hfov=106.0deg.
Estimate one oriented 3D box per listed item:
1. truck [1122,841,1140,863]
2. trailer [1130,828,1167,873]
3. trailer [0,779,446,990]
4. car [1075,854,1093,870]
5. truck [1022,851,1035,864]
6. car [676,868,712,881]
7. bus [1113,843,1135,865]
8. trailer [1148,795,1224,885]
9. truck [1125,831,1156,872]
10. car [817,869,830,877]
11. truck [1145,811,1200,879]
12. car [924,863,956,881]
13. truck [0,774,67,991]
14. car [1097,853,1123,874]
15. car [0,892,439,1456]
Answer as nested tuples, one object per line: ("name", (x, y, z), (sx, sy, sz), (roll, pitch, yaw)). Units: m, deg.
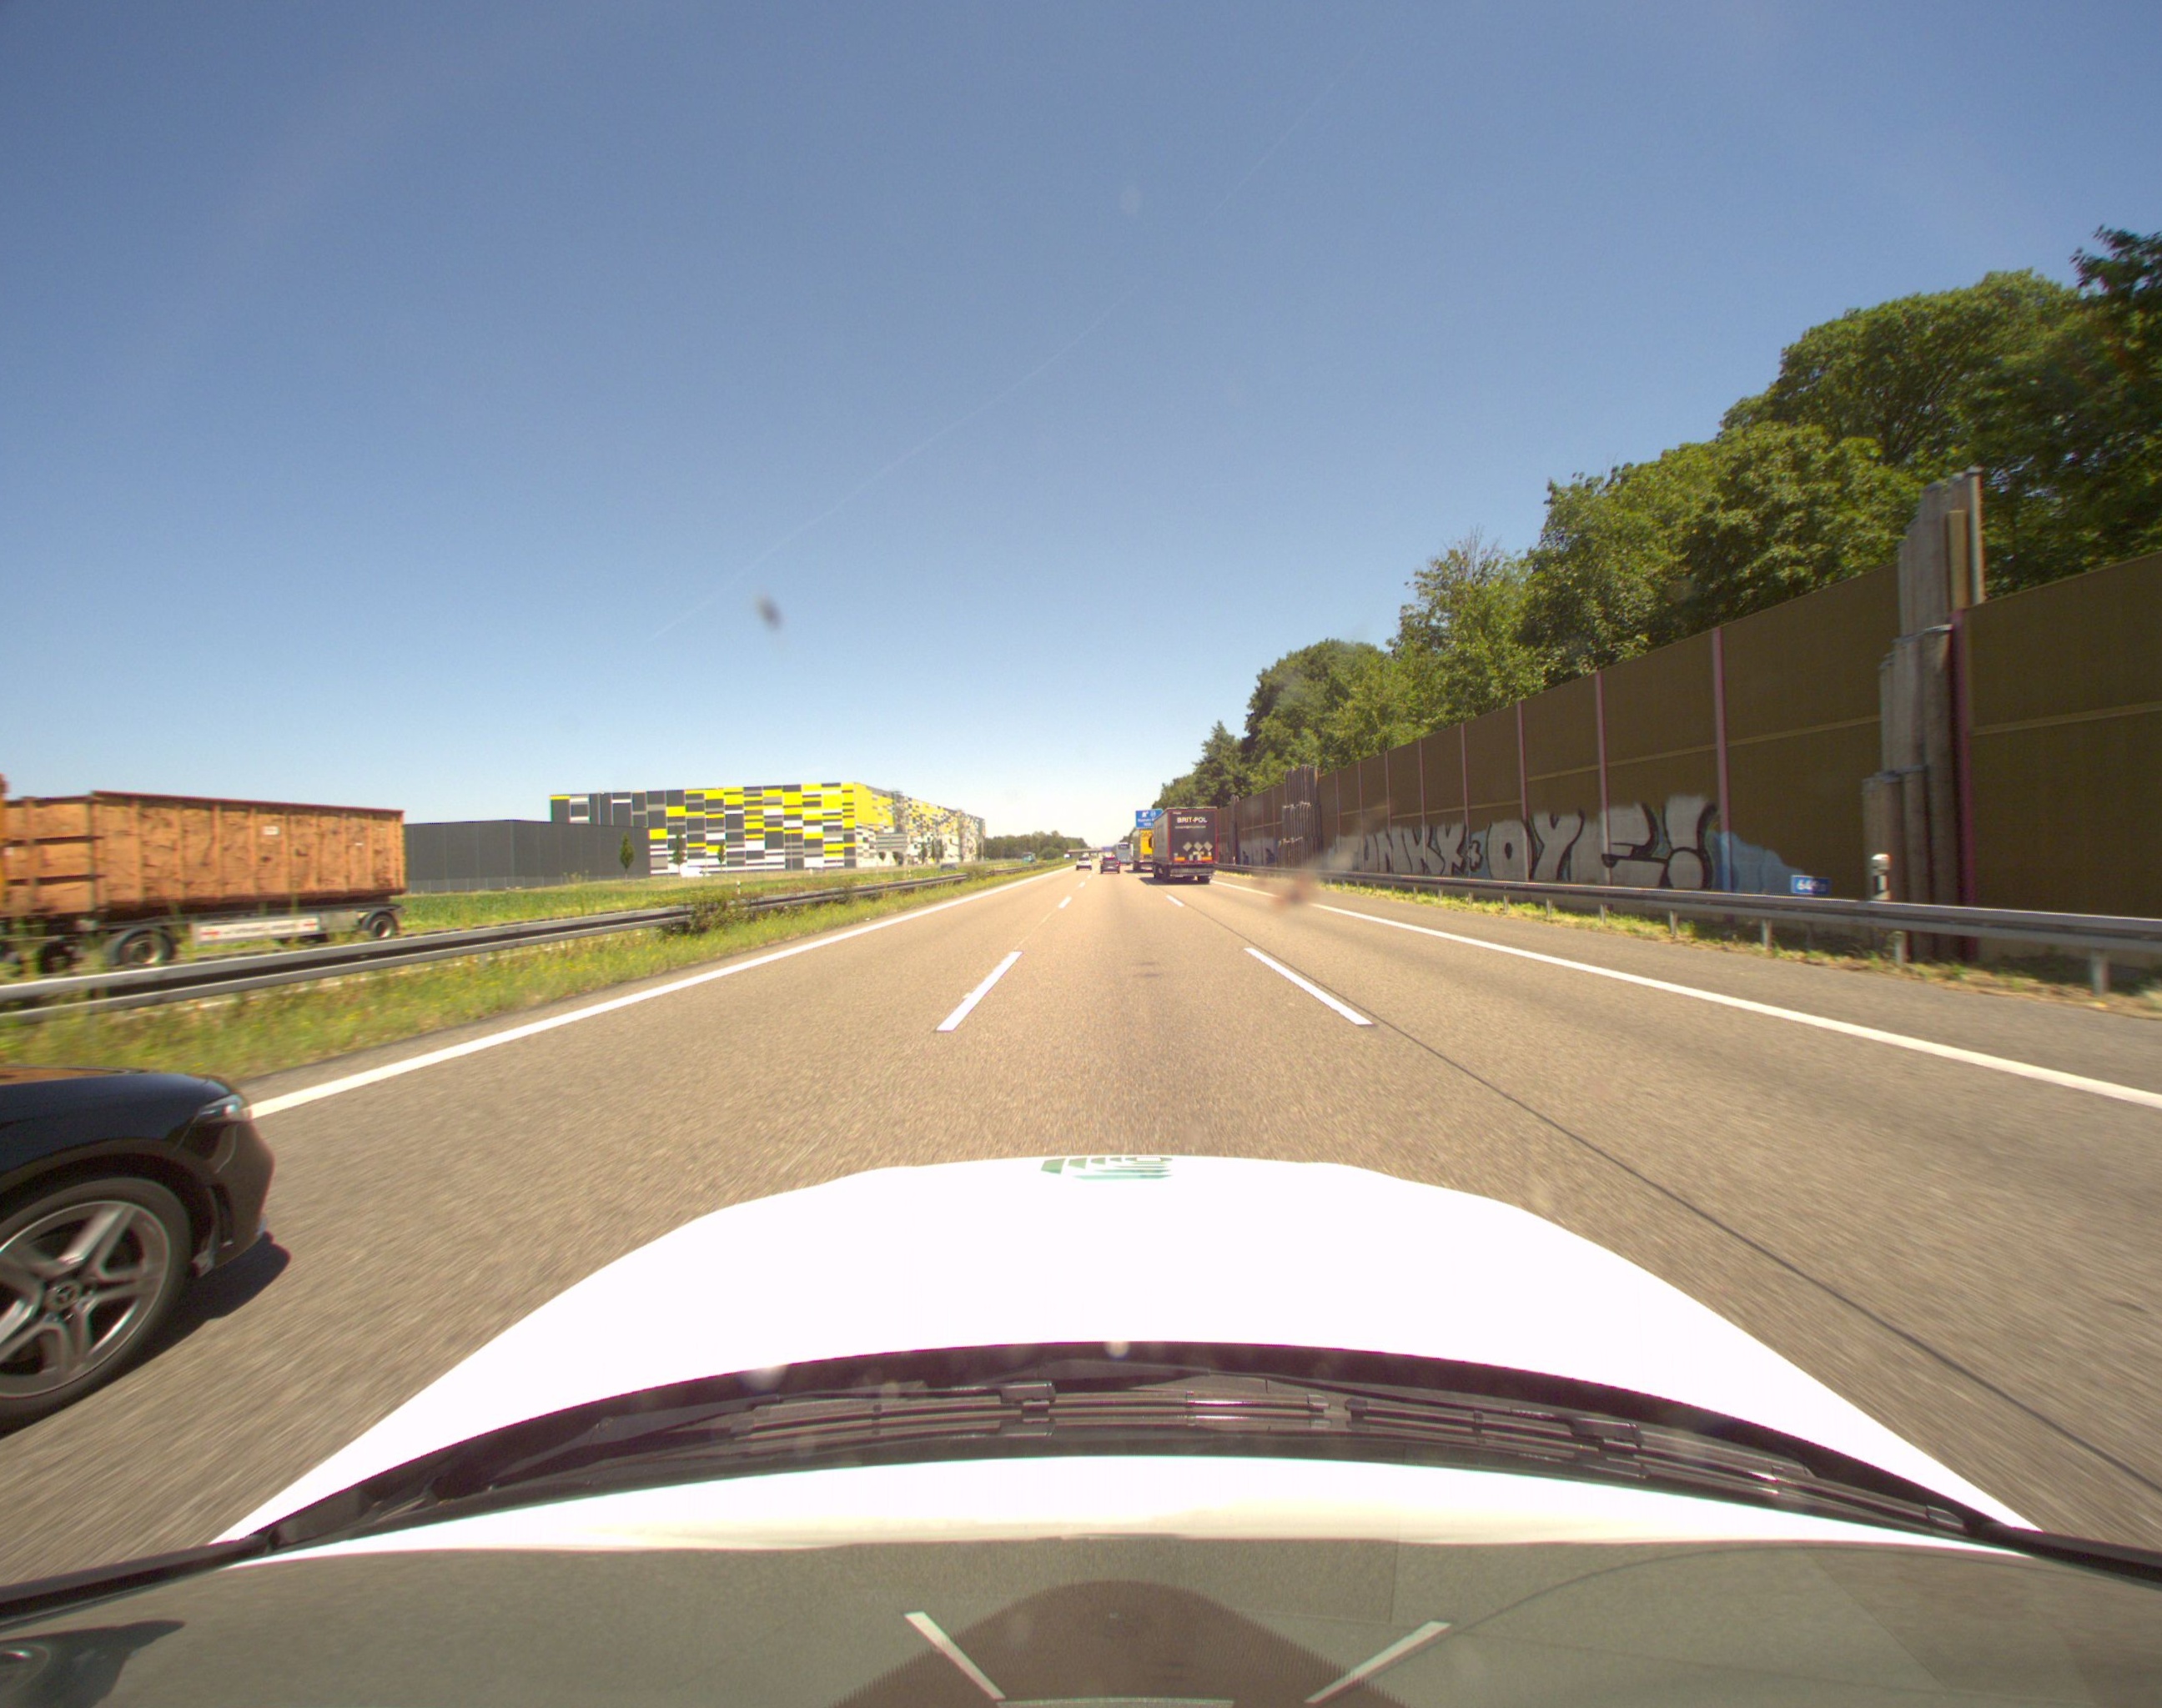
("truck", (9.884, -0.319, 161.753), (3.409, 4.126, 9.570), (-3, 0, 3))
("trailer", (6.358, -0.306, 78.564), (2.824, 3.953, 11.687), (-1, 0, 1))
("trailer", (-20.498, 0.644, 19.936), (2.649, 3.919, 8.664), (-4, 0, 2))
("car", (0.398, 0.901, 94.787), (1.986, 1.728, 4.131), (-1, 0, 1))
("truck", (-13.591, 0.879, 212.557), (2.687, 3.250, 5.840), (-2, -1, 2))
("car", (-69.726, 3.698, 146.844), (5.628, 2.178, 2.088), (-3, 0, -31))
("bus", (6.953, 0.010, 133.562), (3.052, 3.326, 8.274), (-3, 0, 0))
("trailer", (5.975, -0.663, 48.914), (3.094, 4.507, 14.902), (-1, 0, 2))
("truck", (6.277, -0.239, 86.198), (2.803, 4.006, 6.646), (-2, 0, 1))
("car", (-59.979, 4.471, 189.738), (1.679, 1.727, 4.112), (-3, 0, 0))
("truck", (6.219, -0.564, 56.245), (3.076, 4.441, 6.053), (-1, -1, 1))
("car", (-14.421, 1.811, 83.652), (1.986, 1.680, 5.554), (-3, -1, 2))
("truck", (-20.826, 0.587, 10.040), (2.639, 3.884, 10.831), (-5, 0, 2))
("car", (2.638, 0.865, 74.706), (2.208, 1.790, 5.395), (-2, 0, 1))
("car", (-3.751, 0.881, 1.511), (1.785, 1.412, 4.054), (-1, 0, 2))
